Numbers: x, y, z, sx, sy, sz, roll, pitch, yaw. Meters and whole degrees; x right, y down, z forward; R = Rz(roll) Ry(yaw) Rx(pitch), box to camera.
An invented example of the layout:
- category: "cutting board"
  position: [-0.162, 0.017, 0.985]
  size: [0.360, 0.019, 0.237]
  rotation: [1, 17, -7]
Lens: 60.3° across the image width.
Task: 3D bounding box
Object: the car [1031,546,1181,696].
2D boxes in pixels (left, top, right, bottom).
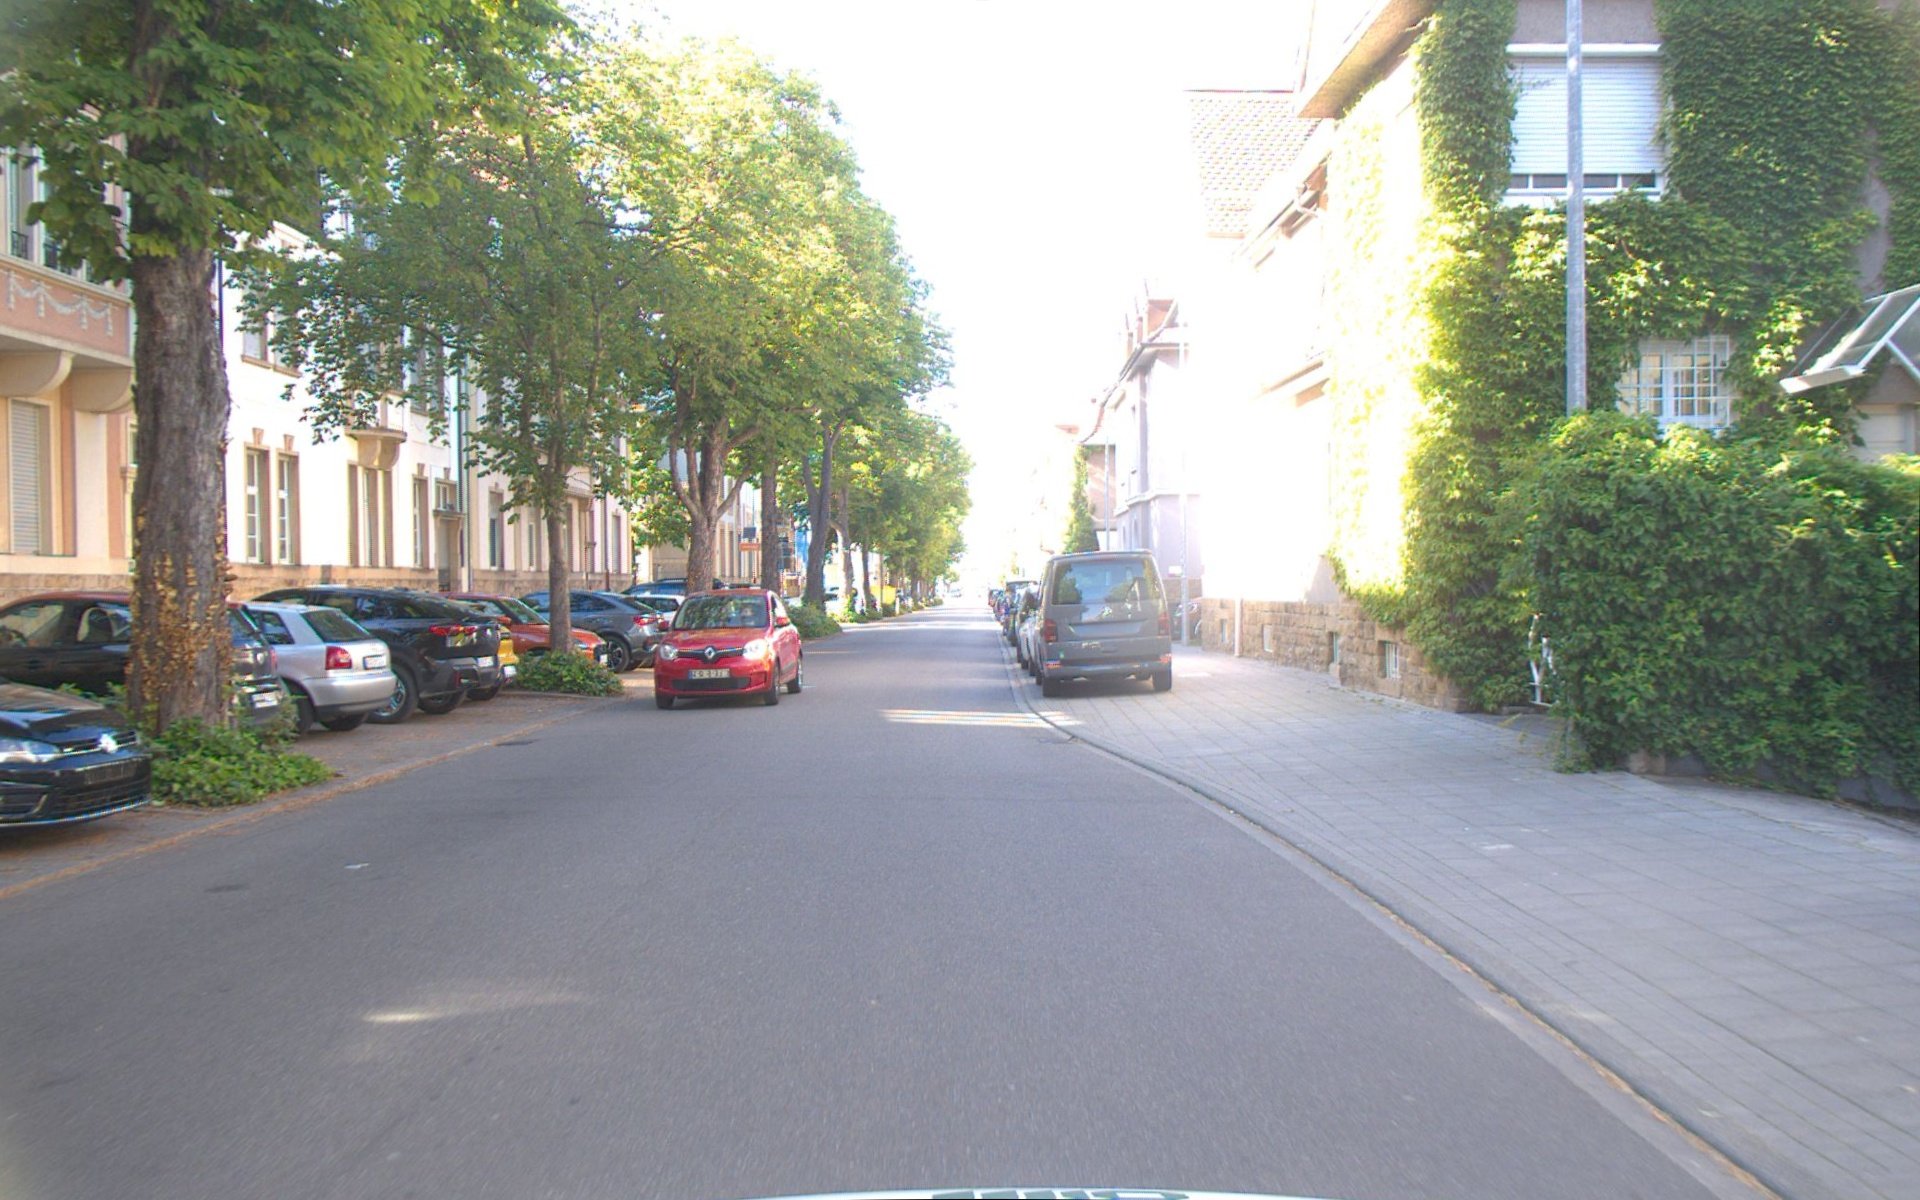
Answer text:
- category: "car"
  position: [2.099, 0.271, 24.965]
  size: [1.826, 1.949, 4.783]
  rotation: [-3, 0, 1]

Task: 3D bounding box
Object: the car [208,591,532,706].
- category: "car"
  position: [-7.957, 0.632, 22.538]
  size: [3.711, 1.487, 1.864]
  rotation: [0, 0, 2]

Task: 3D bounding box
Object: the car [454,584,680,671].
- category: "car"
  position: [-7.546, 0.504, 32.025]
  size: [3.905, 1.620, 1.859]
  rotation: [0, 0, 0]

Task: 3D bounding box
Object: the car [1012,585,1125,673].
- category: "car"
  position: [1.962, 0.484, 30.989]
  size: [1.645, 1.483, 4.437]
  rotation: [-2, 0, -2]

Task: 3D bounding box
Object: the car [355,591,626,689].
- category: "car"
  position: [-7.599, 0.636, 27.012]
  size: [3.905, 1.541, 1.747]
  rotation: [0, -1, 0]

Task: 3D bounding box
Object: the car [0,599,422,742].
- category: "car"
  position: [-8.085, 0.720, 17.874]
  size: [3.904, 1.428, 1.830]
  rotation: [0, 0, 2]

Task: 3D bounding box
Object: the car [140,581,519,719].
- category: "car"
  position: [-7.639, 0.581, 20.294]
  size: [3.904, 1.594, 1.864]
  rotation: [0, 0, 2]

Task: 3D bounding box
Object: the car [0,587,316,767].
- category: "car"
  position: [-8.362, 0.713, 15.538]
  size: [3.904, 1.534, 1.723]
  rotation: [-2, 0, 2]

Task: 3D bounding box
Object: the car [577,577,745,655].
- category: "car"
  position: [-7.502, 0.389, 41.714]
  size: [3.898, 1.888, 1.829]
  rotation: [0, 0, -1]

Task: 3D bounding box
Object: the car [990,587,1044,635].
- category: "car"
  position: [2.004, 0.379, 59.200]
  size: [1.665, 1.566, 4.154]
  rotation: [-3, 0, -1]

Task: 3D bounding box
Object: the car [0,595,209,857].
- category: "car"
  position: [-7.119, 0.724, 10.466]
  size: [3.904, 1.508, 1.786]
  rotation: [0, 0, 2]

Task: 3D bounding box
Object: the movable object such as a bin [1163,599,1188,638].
- category: "movable object such as a bin"
  position: [5.937, 0.499, 45.592]
  size: [0.557, 1.058, 0.618]
  rotation: [-2, 0, -2]

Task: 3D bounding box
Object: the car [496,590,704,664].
- category: "car"
  position: [-7.430, 0.544, 34.360]
  size: [3.820, 1.471, 1.860]
  rotation: [0, 0, 5]

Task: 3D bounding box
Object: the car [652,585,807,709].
- category: "car"
  position: [-3.146, 0.595, 23.210]
  size: [1.607, 1.534, 3.702]
  rotation: [-2, 0, 0]

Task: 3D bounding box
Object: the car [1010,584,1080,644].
- category: "car"
  position: [2.345, 0.356, 46.638]
  size: [1.816, 1.519, 4.608]
  rotation: [-3, 0, 1]

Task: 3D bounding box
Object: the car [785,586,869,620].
- category: "car"
  position: [-6.351, 0.143, 79.155]
  size: [3.907, 1.490, 1.797]
  rotation: [1, -1, -3]

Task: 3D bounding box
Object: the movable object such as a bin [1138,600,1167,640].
- category: "movable object such as a bin"
  position: [5.289, 0.552, 45.435]
  size: [0.634, 1.058, 0.828]
  rotation: [-2, 0, -2]

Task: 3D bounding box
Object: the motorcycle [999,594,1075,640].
- category: "motorcycle"
  position: [2.399, 0.532, 51.569]
  size: [2.167, 1.362, 0.913]
  rotation: [1, 1, -27]

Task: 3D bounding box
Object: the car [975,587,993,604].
- category: "car"
  position: [2.425, -0.463, 167.169]
  size: [1.734, 1.660, 3.867]
  rotation: [-1, 0, 2]

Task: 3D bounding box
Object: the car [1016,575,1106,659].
- category: "car"
  position: [2.167, 0.360, 36.288]
  size: [1.752, 1.628, 4.001]
  rotation: [-3, 0, 1]

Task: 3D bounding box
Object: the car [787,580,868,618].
- category: "car"
  position: [-6.492, -0.041, 81.427]
  size: [3.907, 1.791, 1.797]
  rotation: [1, 0, -3]

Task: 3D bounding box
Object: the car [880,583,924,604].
- category: "car"
  position: [-5.341, -0.612, 152.651]
  size: [3.923, 1.873, 2.001]
  rotation: [1, 1, 3]
